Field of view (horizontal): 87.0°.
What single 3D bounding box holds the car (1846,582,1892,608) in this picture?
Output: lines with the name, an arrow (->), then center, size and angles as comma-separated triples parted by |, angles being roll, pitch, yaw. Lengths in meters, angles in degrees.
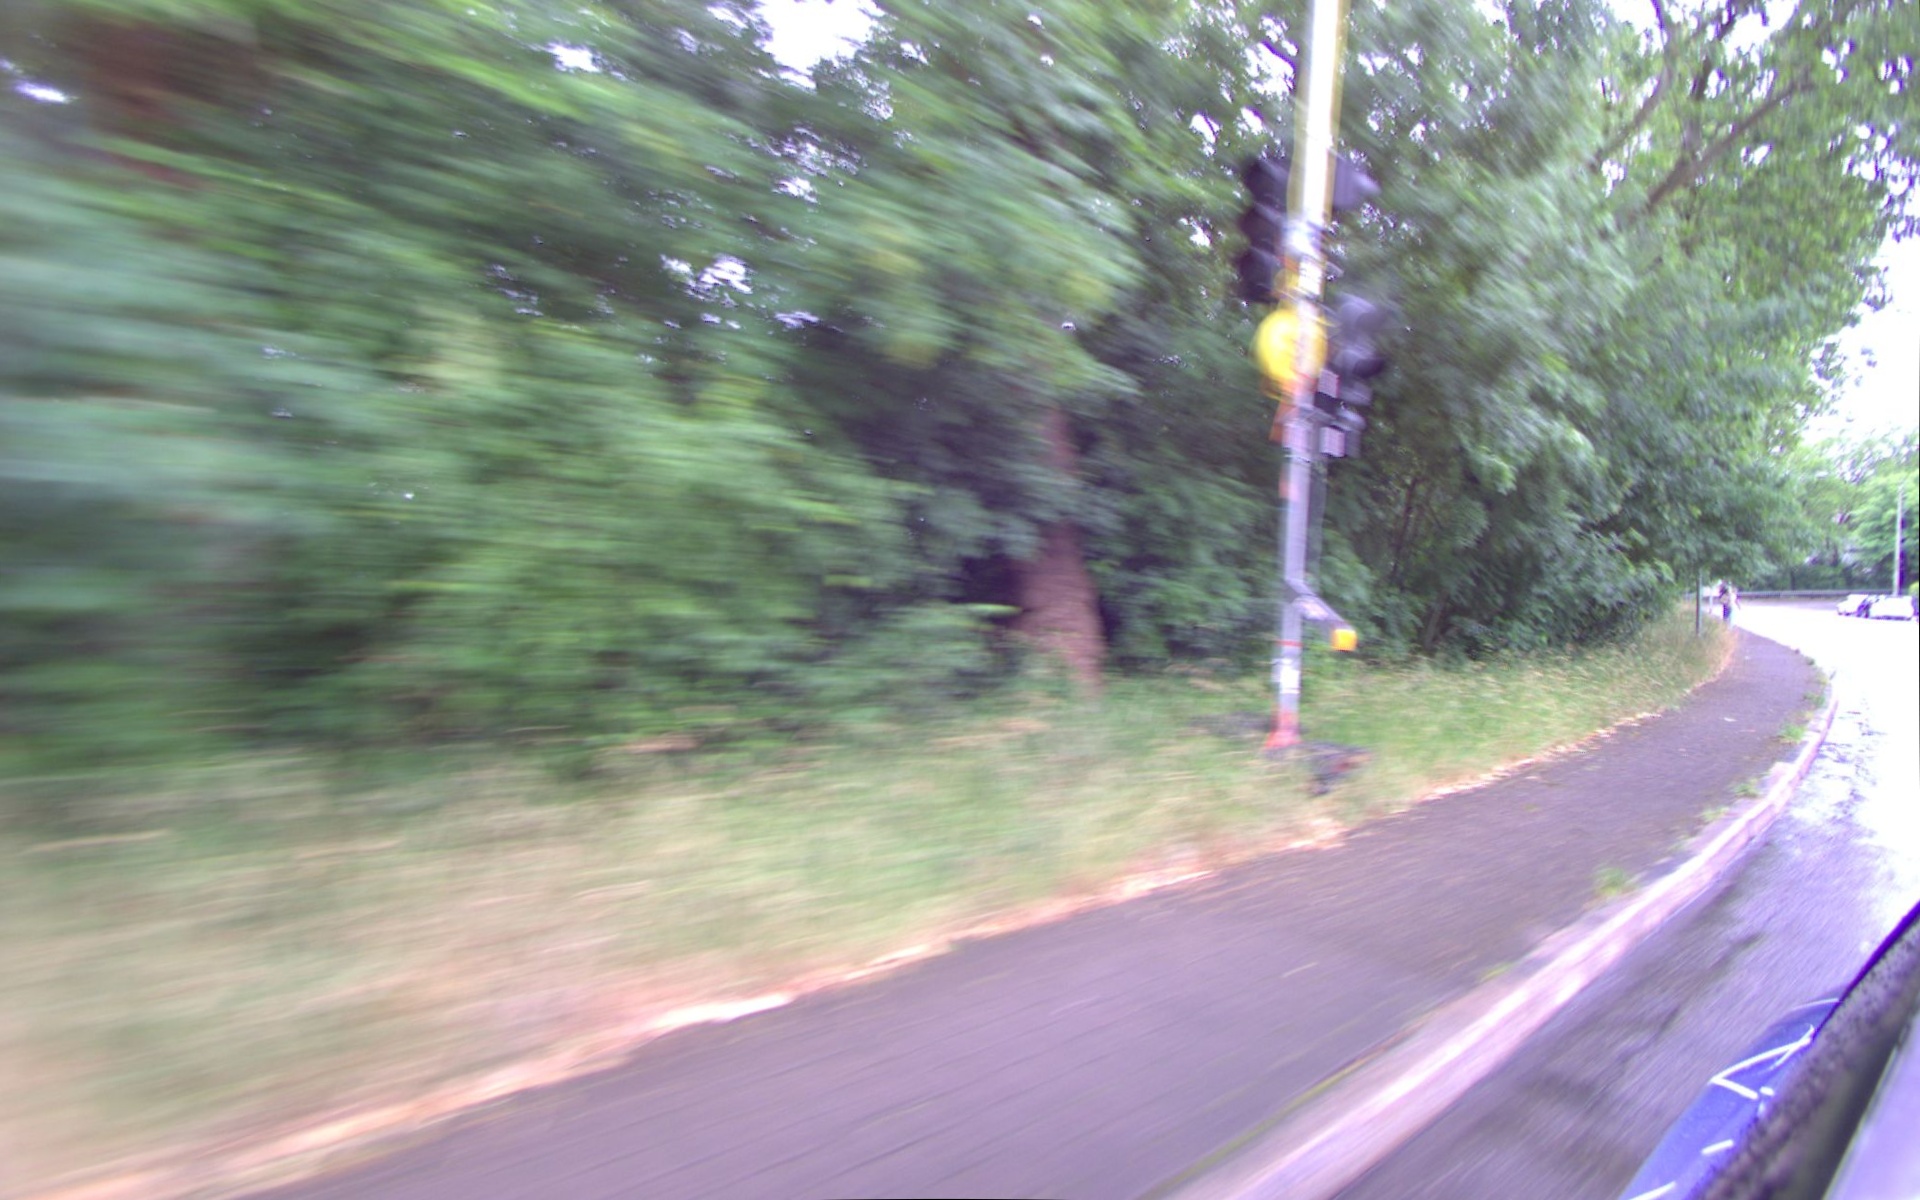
car -> 62.514, -0.362, 69.665 | 1.726, 1.439, 4.232 | -4, 1, 35

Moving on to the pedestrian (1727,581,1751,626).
pedestrian -> 28.755, 0.120, 37.375 | 0.639, 1.631, 0.662 | 1, 2, 34

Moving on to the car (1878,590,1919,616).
car -> 57.063, 0.167, 61.230 | 1.692, 1.486, 3.667 | 1, 1, 33
